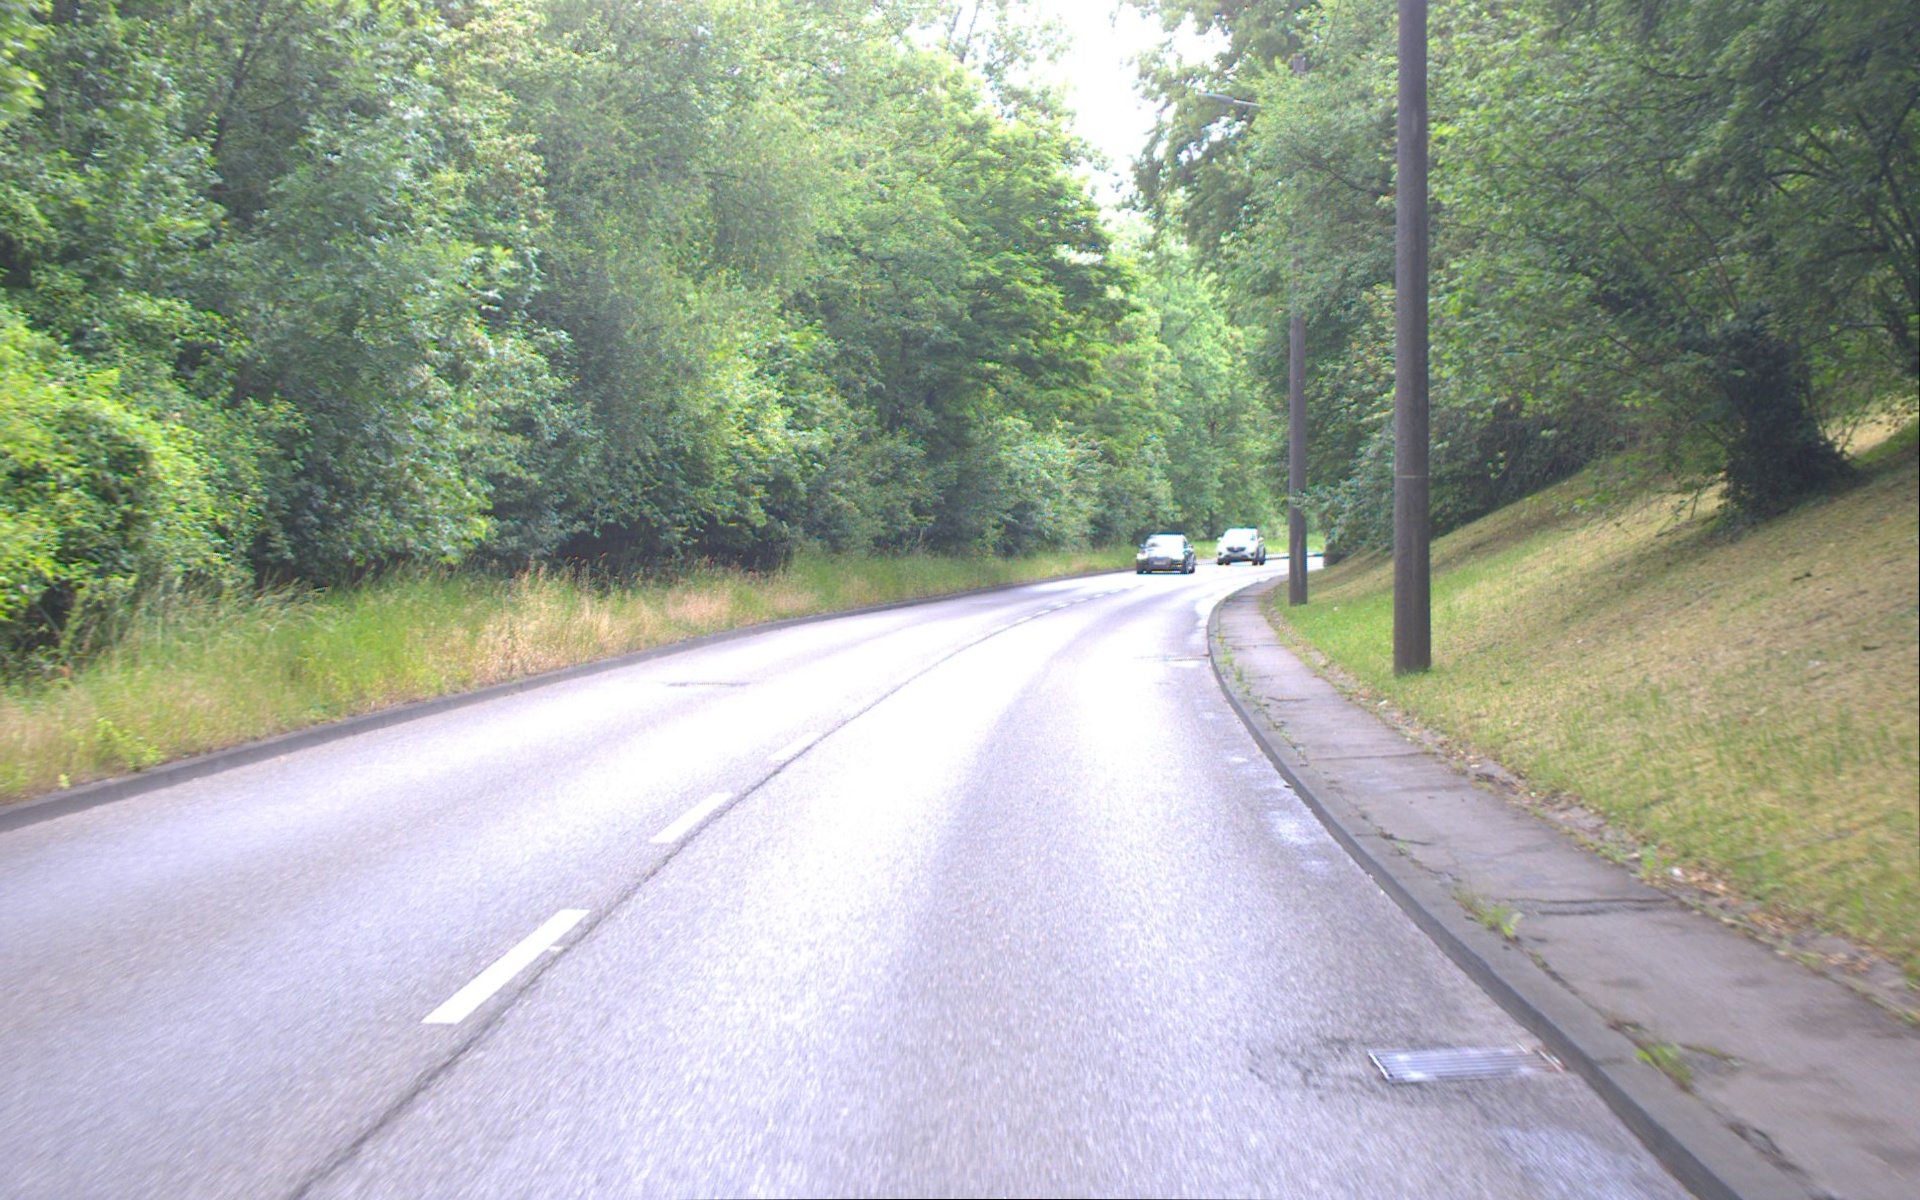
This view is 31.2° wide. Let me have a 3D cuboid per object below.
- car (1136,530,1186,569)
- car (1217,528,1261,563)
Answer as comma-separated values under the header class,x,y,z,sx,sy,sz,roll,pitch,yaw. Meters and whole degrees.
class,x,y,z,sx,sy,sz,roll,pitch,yaw
car,7.463,-1.889,127.415,1.810,1.415,4.000,0,1,4
car,12.754,-2.486,157.508,1.942,1.576,4.440,0,1,4
